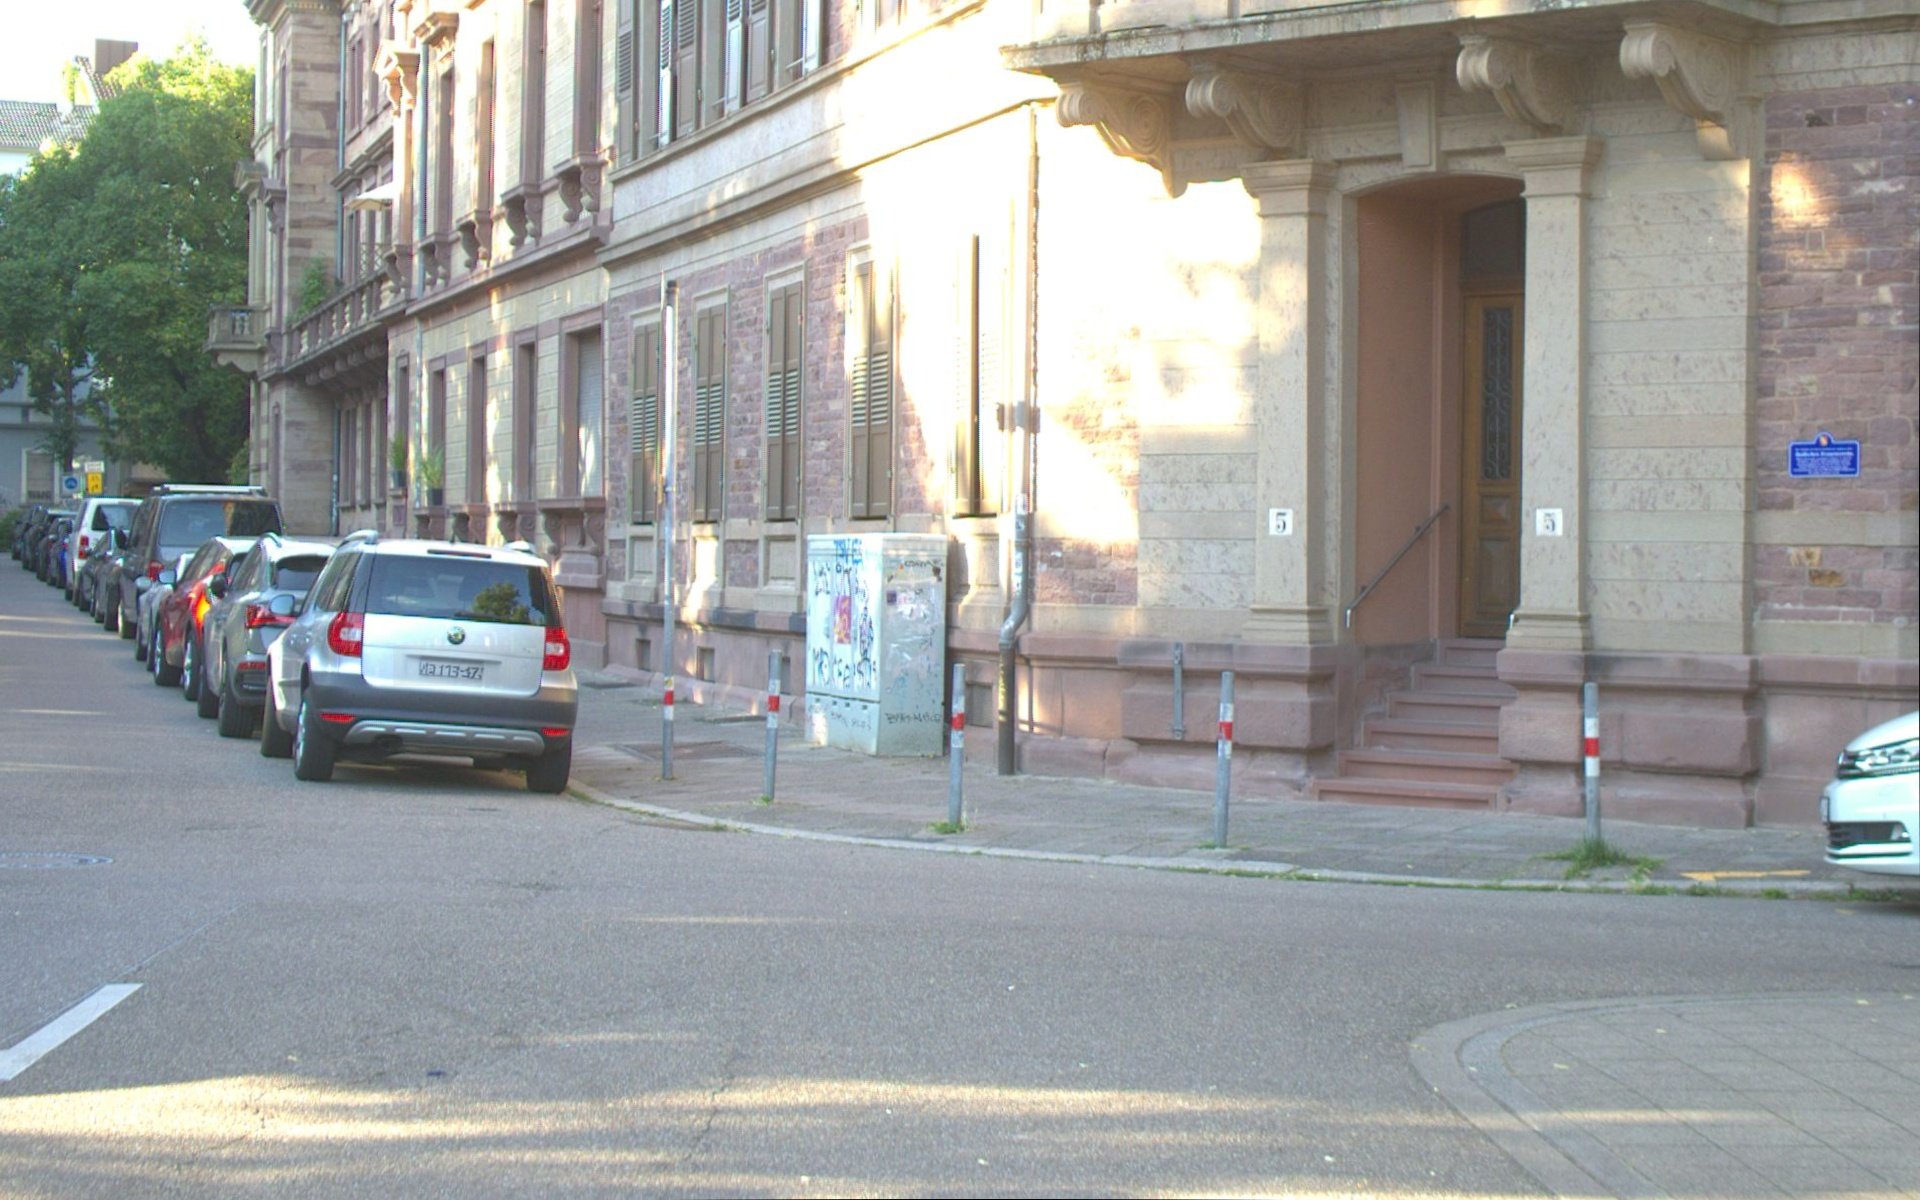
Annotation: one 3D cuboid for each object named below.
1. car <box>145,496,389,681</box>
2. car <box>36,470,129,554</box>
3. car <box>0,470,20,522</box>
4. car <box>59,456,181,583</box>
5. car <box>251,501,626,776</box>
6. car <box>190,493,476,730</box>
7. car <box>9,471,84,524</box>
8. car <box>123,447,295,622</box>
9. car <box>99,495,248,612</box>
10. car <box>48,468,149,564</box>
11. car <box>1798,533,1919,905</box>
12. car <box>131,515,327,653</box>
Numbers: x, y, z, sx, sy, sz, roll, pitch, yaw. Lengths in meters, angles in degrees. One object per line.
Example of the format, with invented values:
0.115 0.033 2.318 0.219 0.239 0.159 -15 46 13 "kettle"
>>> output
-6.924 -0.157 34.082 1.797 1.608 3.956 3 1 -19 "car"
-19.593 -1.976 76.672 1.797 1.722 3.956 3 1 -16 "car"
-33.941 -3.627 119.398 1.993 1.678 4.001 2 0 -22 "car"
-14.857 -1.444 60.687 1.797 2.065 3.956 3 1 -16 "car"
-3.745 0.204 24.055 1.915 1.651 4.188 4 0 -17 "car"
-5.346 0.030 28.855 1.825 1.717 4.545 4 1 -16 "car"
-31.991 -3.576 120.325 1.993 1.678 4.001 2 0 -22 "car"
-9.771 -0.872 44.531 1.797 2.065 3.956 3 1 -16 "car"
-11.492 -0.710 50.084 1.797 1.518 3.956 3 1 -16 "car"
-18.036 -1.772 71.843 1.797 1.832 3.956 3 1 -16 "car"
6.260 0.593 15.893 4.485 1.644 1.874 1 -1 10 "car"
-8.303 -0.209 38.846 1.797 1.340 3.956 3 1 -16 "car"
